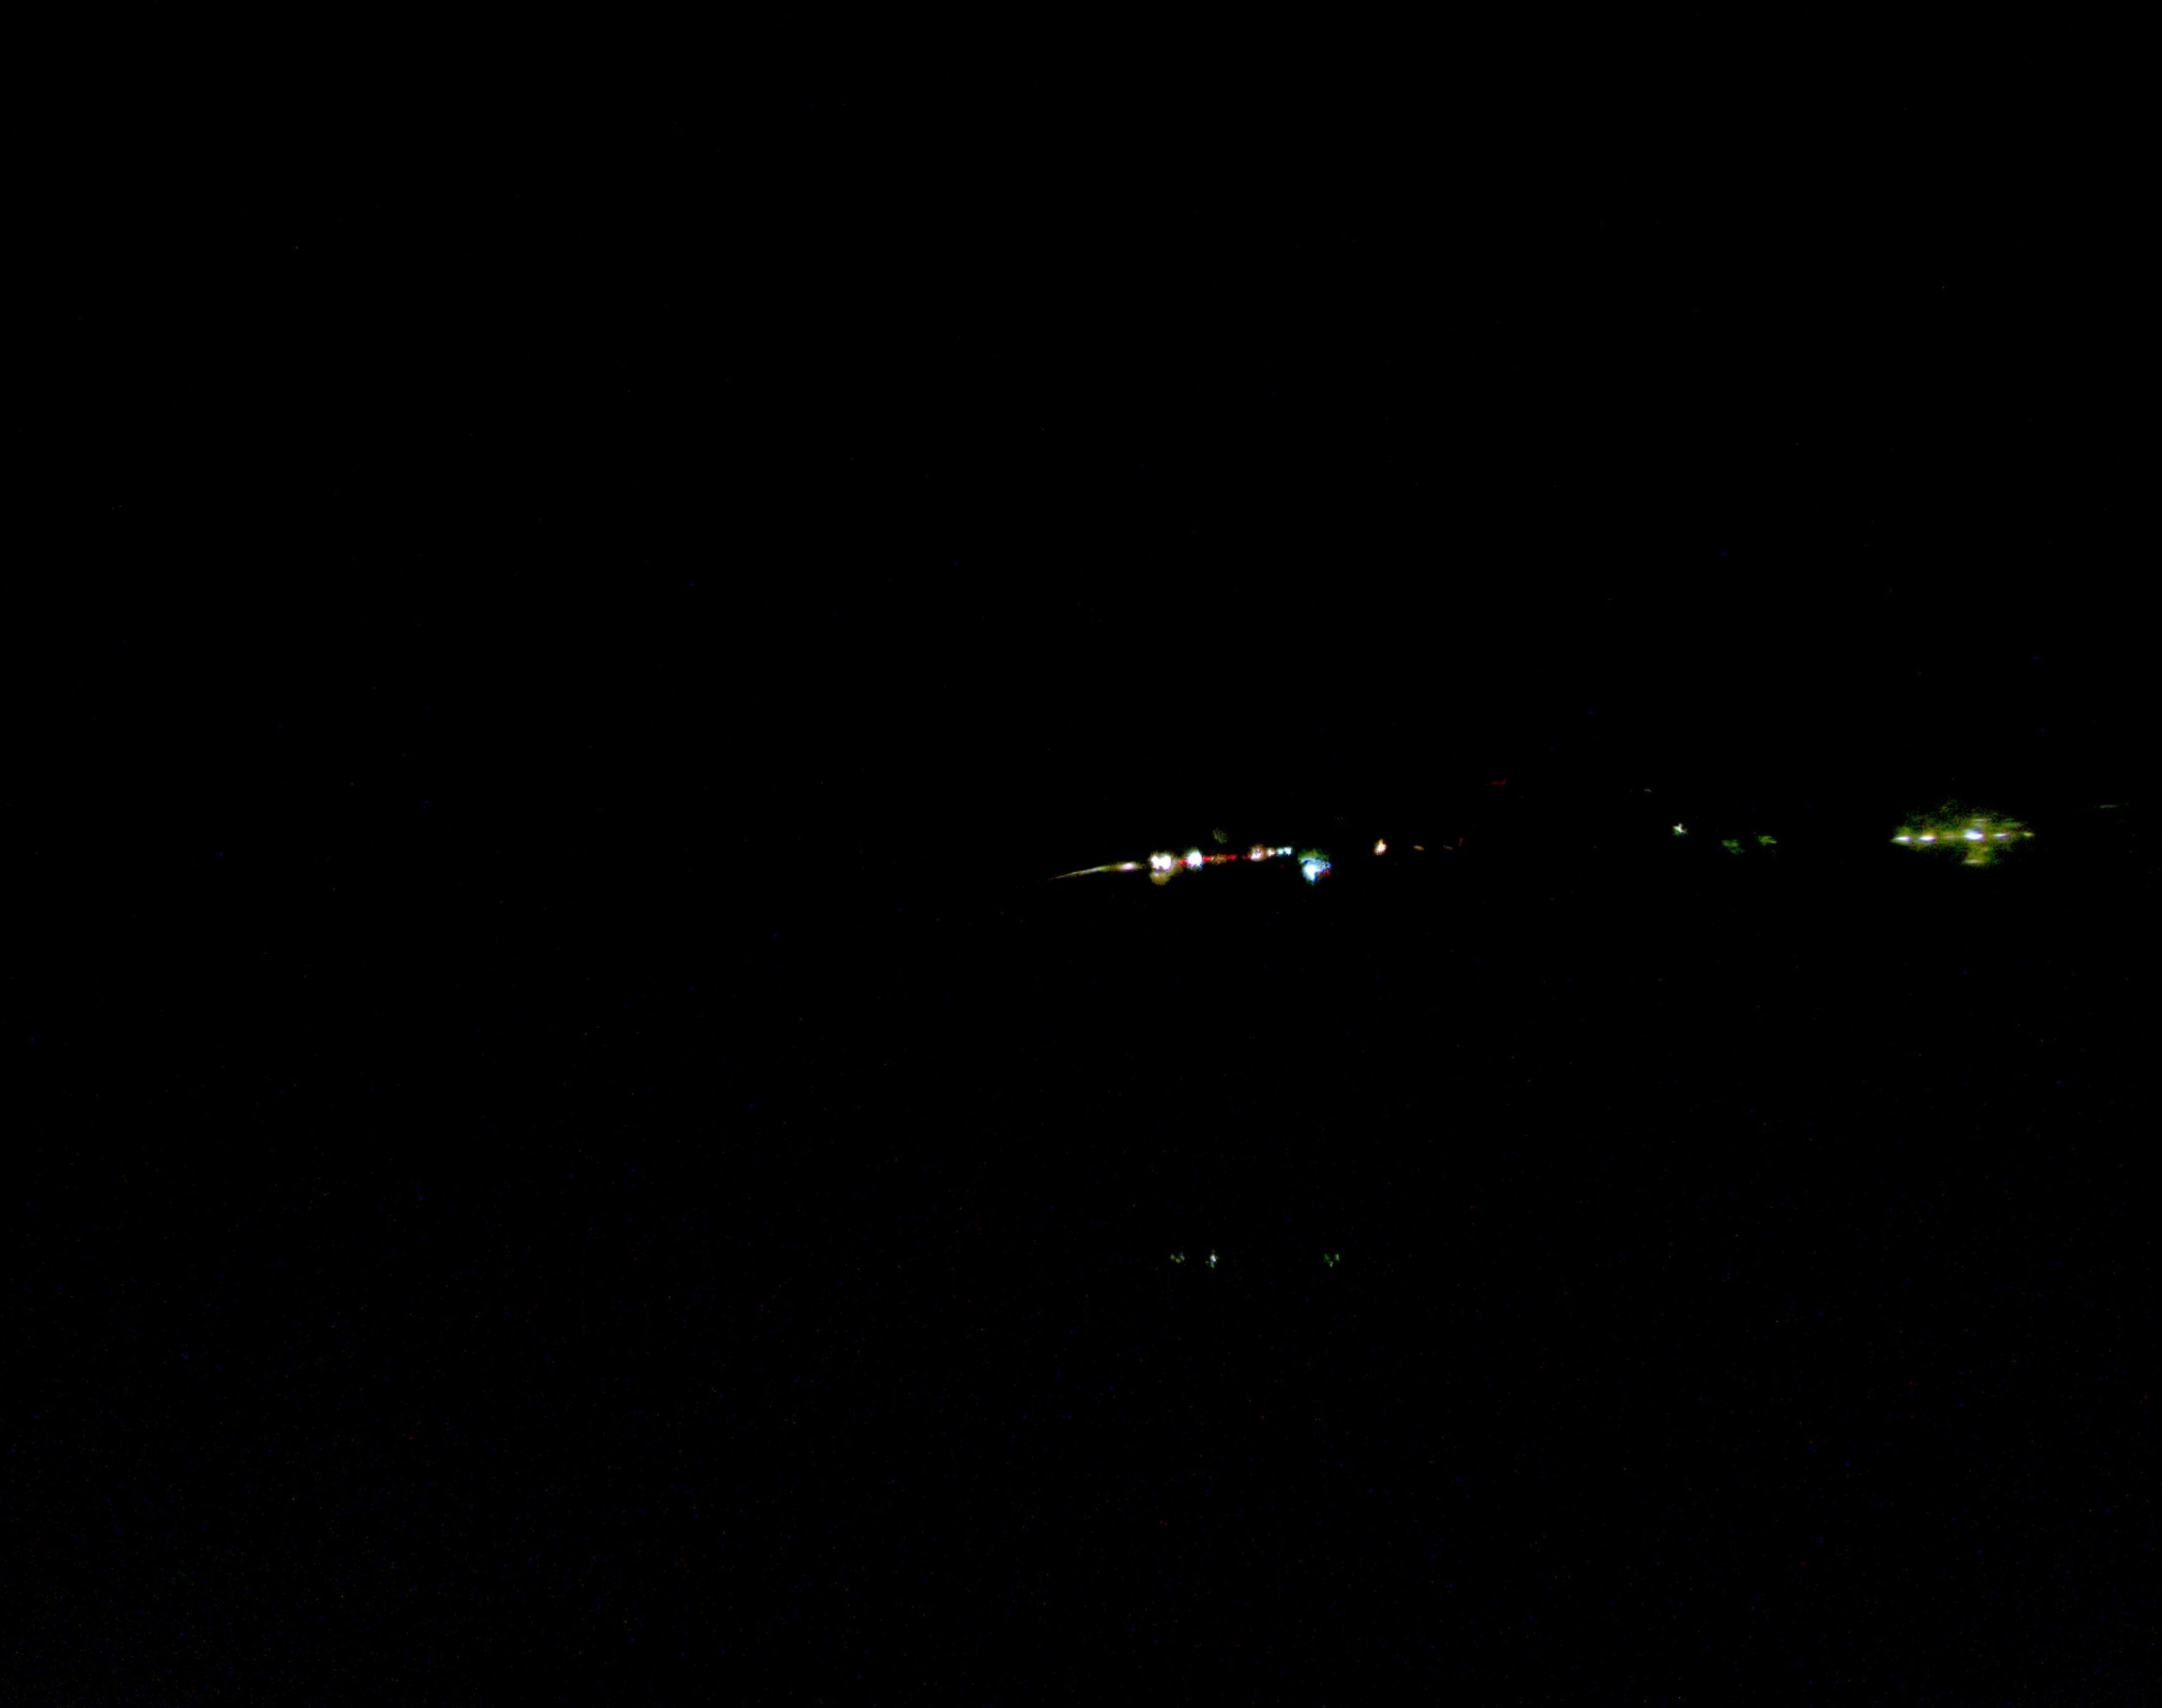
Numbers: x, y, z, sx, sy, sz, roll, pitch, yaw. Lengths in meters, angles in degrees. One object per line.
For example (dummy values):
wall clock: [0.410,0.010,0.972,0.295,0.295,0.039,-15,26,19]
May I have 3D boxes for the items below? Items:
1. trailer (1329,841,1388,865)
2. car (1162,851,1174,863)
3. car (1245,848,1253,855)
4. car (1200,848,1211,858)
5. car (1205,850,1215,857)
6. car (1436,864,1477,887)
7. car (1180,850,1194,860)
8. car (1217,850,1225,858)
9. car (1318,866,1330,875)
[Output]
trailer: [59.816,-0.269,163.686,11.553,4.768,3.336,-2,1,-7]
car: [14.664,0.490,127.913,1.997,2.002,4.001,-2,0,6]
car: [51.754,-0.772,233.688,1.790,1.615,4.378,-1,6,20]
car: [25.896,-0.249,158.340,1.997,2.063,4.003,-2,0,11]
car: [29.357,-0.031,172.973,1.801,1.511,4.539,-1,1,14]
car: [36.558,2.068,74.056,1.998,2.002,4.000,-2,0,2]
car: [18.280,0.112,131.014,1.997,1.604,4.615,-1,0,12]
car: [34.858,0.001,189.005,1.690,1.671,3.471,-2,1,17]
car: [45.294,3.024,141.721,1.811,1.561,4.297,-2,0,15]
